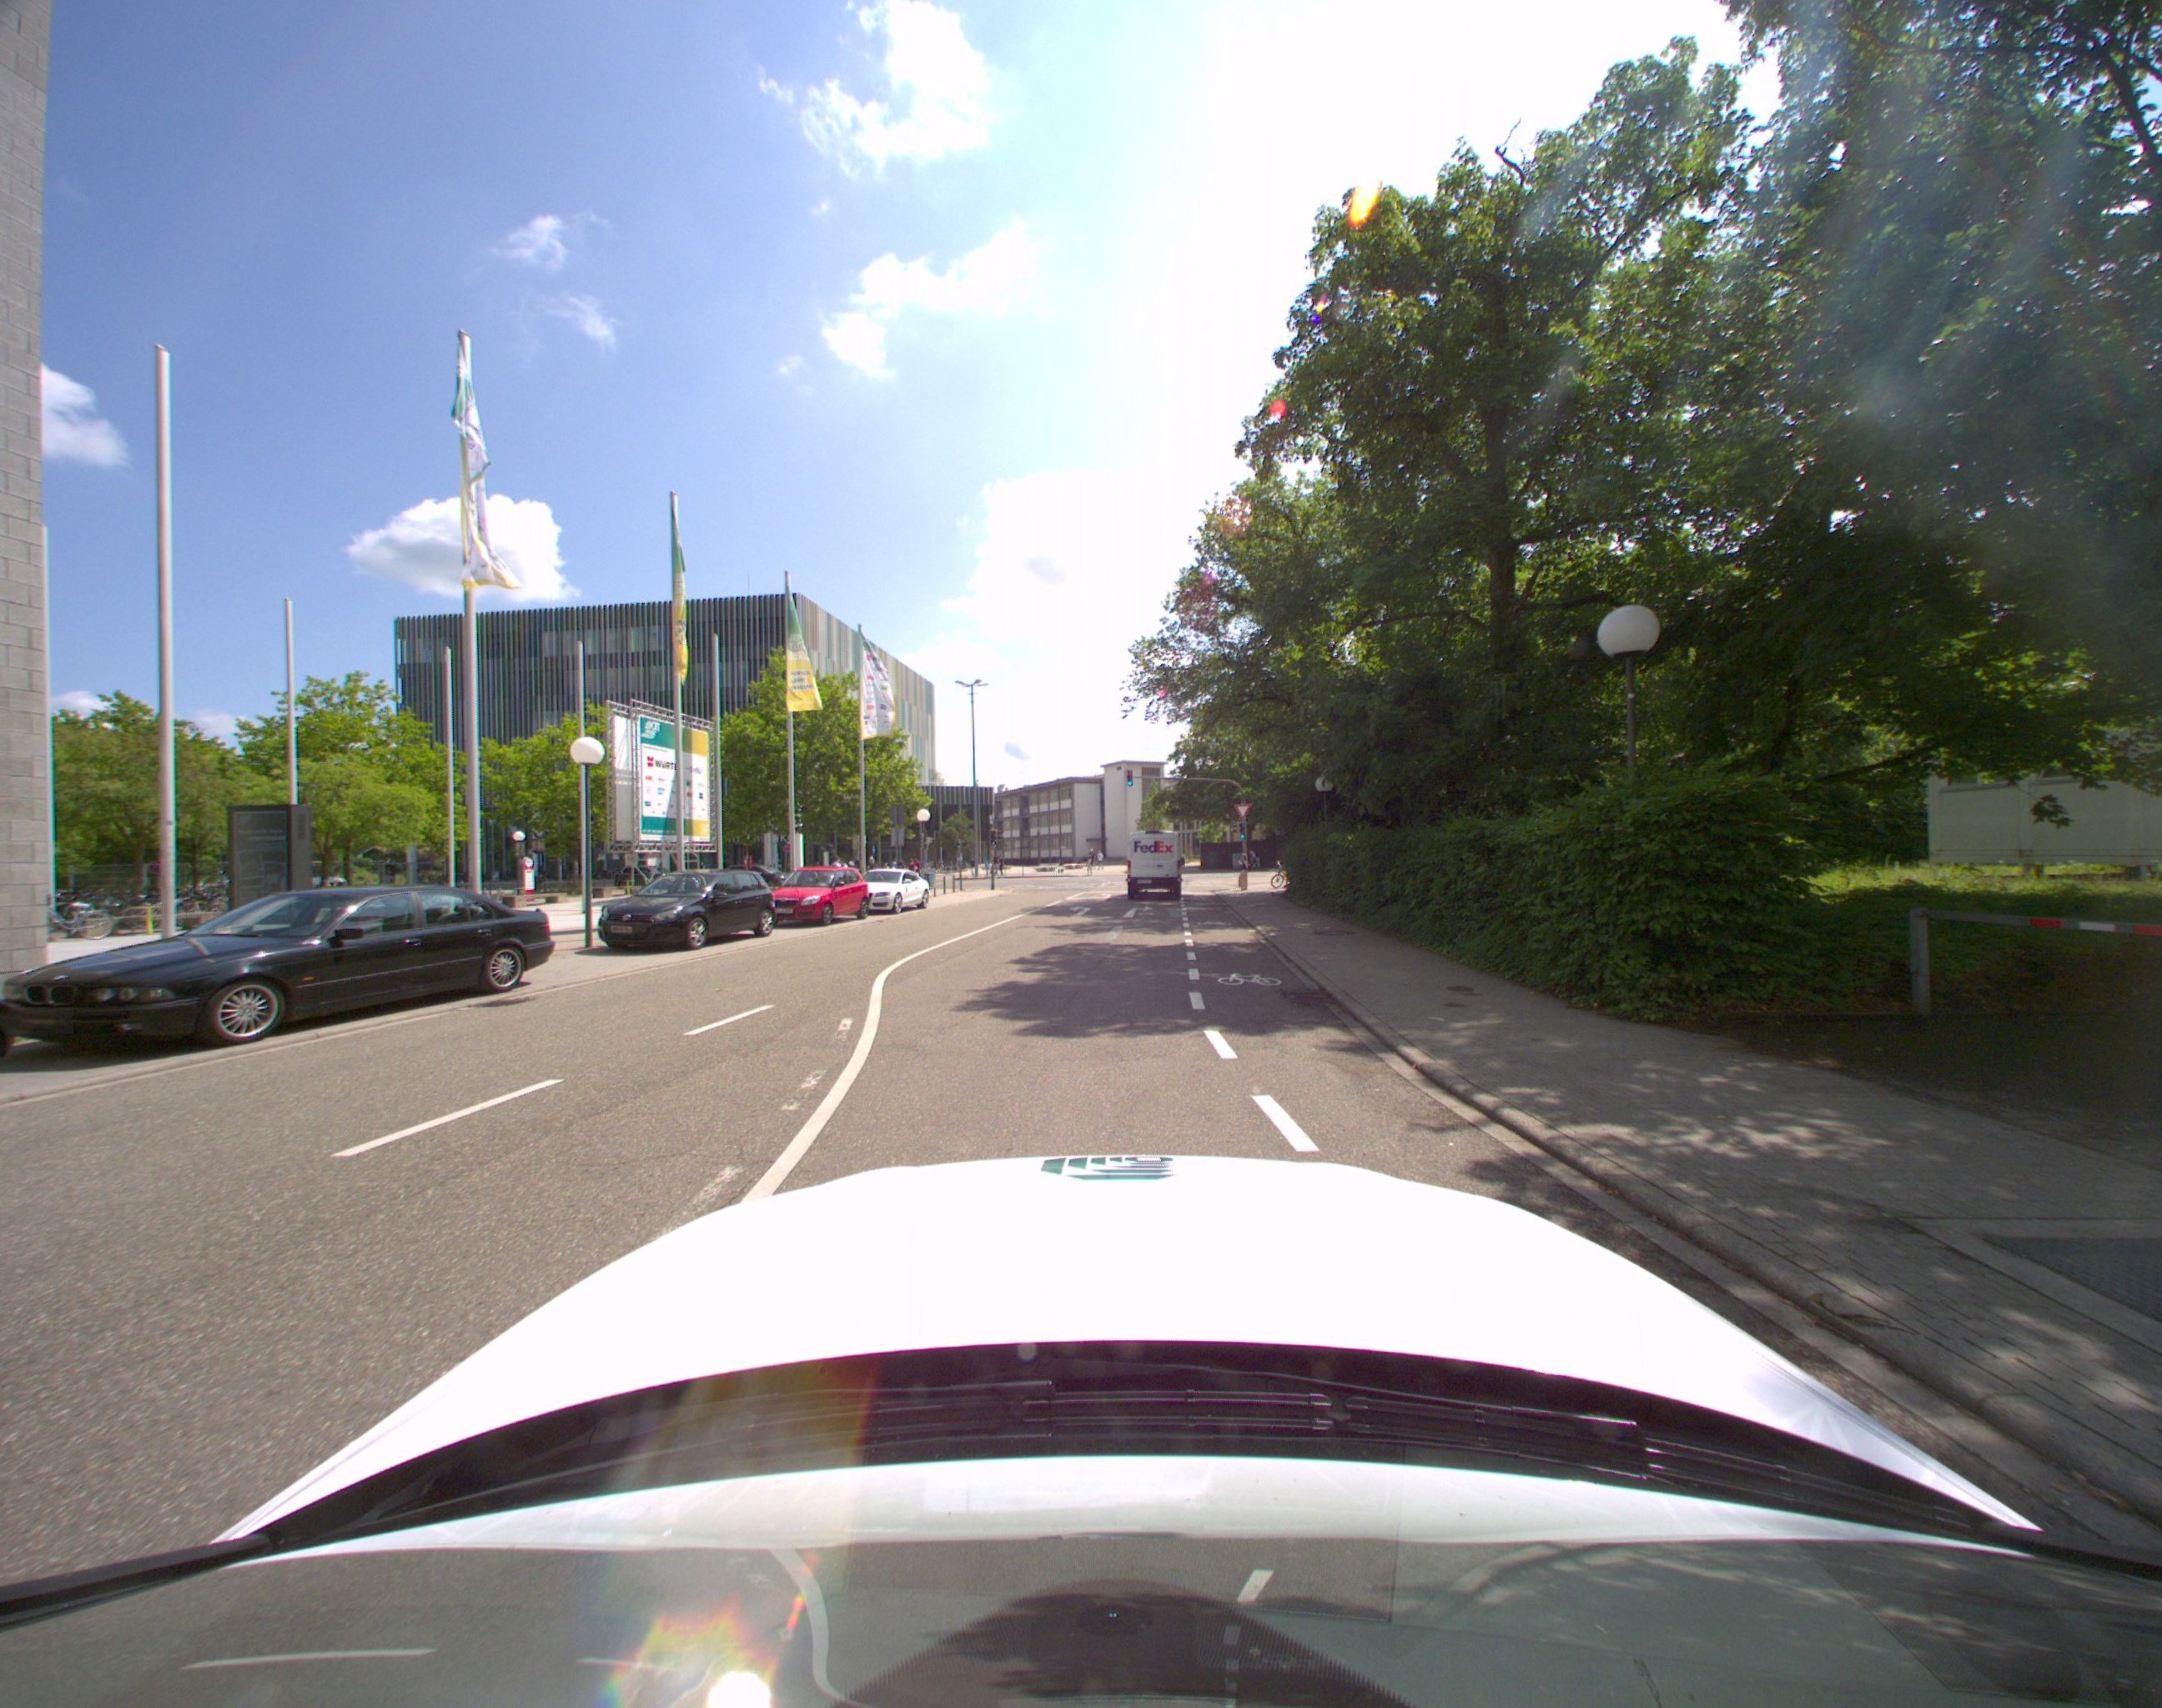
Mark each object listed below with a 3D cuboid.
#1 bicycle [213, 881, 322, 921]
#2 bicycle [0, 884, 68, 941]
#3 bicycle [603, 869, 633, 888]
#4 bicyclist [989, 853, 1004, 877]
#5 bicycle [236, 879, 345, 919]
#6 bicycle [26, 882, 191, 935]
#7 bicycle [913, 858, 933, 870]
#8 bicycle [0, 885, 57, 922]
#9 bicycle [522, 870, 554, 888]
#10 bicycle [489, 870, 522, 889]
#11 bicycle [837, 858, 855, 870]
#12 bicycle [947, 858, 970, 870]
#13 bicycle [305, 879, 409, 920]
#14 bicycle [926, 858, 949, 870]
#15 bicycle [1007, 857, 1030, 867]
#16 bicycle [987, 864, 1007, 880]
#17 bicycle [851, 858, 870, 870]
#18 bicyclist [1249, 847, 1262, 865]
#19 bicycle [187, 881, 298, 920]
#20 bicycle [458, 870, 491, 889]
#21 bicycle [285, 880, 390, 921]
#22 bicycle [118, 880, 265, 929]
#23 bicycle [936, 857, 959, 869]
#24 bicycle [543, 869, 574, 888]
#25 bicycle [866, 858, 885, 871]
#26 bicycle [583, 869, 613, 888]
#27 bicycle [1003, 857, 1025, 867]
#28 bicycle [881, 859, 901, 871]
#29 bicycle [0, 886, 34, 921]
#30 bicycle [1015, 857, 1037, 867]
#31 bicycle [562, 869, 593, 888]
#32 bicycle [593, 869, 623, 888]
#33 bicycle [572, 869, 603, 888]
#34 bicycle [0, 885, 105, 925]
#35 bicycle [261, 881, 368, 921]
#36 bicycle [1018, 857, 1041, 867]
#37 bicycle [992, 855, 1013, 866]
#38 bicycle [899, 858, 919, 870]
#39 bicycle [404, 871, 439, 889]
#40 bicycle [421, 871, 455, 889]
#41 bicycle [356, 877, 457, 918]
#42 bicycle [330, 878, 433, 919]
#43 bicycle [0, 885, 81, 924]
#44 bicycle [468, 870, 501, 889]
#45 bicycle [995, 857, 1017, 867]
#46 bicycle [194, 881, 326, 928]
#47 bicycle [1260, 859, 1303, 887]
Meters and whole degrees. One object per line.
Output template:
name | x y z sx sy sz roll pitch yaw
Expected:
bicycle | -32.087 1.814 32.206 1.055 1.411 2.960 -1 0 12
bicycle | -28.750 1.536 21.136 2.948 1.411 1.142 -1 -1 -16
bicycle | -46.793 2.423 82.314 0.953 1.838 2.959 -1 0 9
bicyclist | -6.456 0.824 62.491 0.783 1.817 1.003 -2 0 16
bicycle | -30.977 1.724 31.998 1.055 1.411 2.960 -1 0 12
bicycle | -28.546 1.578 23.984 2.948 1.411 1.142 -1 -1 -16
bicycle | -16.840 1.039 86.836 1.205 1.237 2.922 0 0 -31
bicycle | -43.359 2.016 32.479 1.055 1.411 2.960 -1 0 12
bicycle | -55.759 2.546 83.641 0.954 1.838 2.957 -1 0 8
bicycle | -59.457 2.596 84.193 0.980 1.838 2.957 -1 0 7
bicycle | -23.629 0.995 81.829 1.204 1.237 2.924 0 0 -28
bicycle | -13.351 1.097 88.787 1.207 1.237 2.917 0 -1 -39
bicycle | -27.800 1.706 31.381 1.008 1.411 2.960 -1 0 12
bicycle | -15.411 1.058 87.290 1.207 1.237 2.917 0 -1 -39
bicycle | -8.852 1.165 115.289 2.975 1.363 1.106 0 -1 -31
bicycle | -6.438 1.379 62.516 0.764 1.122 2.035 -2 0 16
bicycle | -22.400 1.010 82.767 1.204 1.237 2.923 0 0 -29
bicyclist | 15.046 0.156 70.208 0.841 1.468 1.075 -2 0 30
bicycle | -33.277 1.817 32.419 1.055 1.411 2.960 -1 0 12
bicycle | -63.000 2.644 84.608 0.954 1.838 2.957 -1 0 7
bicycle | -28.773 1.761 31.606 1.008 1.411 2.960 -1 0 12
bicycle | -28.088 1.555 25.792 2.948 1.411 1.142 -1 -1 -16
bicycle | -14.441 0.987 88.109 1.207 1.237 2.917 0 -1 -39
bicycle | -53.477 2.515 83.351 0.954 1.838 2.959 -1 0 9
bicycle | -21.096 1.083 83.431 1.204 1.237 2.924 0 0 -29
bicycle | -49.001 2.453 82.653 0.953 1.838 2.959 -1 0 10
bicycle | -9.572 1.183 116.859 2.975 1.363 1.106 0 -1 -31
bicycle | -19.816 1.131 84.889 1.204 1.237 2.923 0 0 -30
bicycle | -44.657 2.034 32.746 1.055 1.411 2.960 -1 0 12
bicycle | -7.654 1.138 113.251 2.975 1.363 1.106 0 -1 -31
bicycle | -51.277 2.484 83.033 0.953 1.838 2.959 -1 0 10
bicycle | -47.903 2.438 82.493 0.953 1.838 2.959 -1 0 10
bicycle | -50.156 2.469 82.832 0.953 1.838 2.959 -1 0 10
bicycle | -40.922 1.983 32.115 1.055 1.411 2.960 -1 0 12
bicycle | -29.839 1.791 31.809 1.055 1.411 2.960 -1 0 12
bicycle | -7.050 1.118 112.157 2.975 1.363 1.106 0 -1 -31
bicycle | -11.710 0.956 121.675 2.975 1.574 1.106 0 -1 -31
bicycle | -18.097 1.081 85.506 1.204 1.237 2.923 0 0 -30
bicycle | -68.990 2.708 85.205 0.954 1.838 2.957 -1 0 7
bicycle | -67.061 2.699 85.004 0.954 1.838 2.957 -1 0 7
bicycle | -25.588 1.615 30.992 1.008 1.419 2.960 -1 0 12
bicycle | -26.706 1.680 31.192 1.008 1.416 2.960 -1 0 12
bicycle | -42.106 1.999 32.276 1.055 1.411 2.960 -1 0 12
bicycle | -61.831 2.628 84.457 0.954 1.838 2.957 -1 0 7
bicycle | -11.046 1.208 120.059 2.975 1.363 1.106 0 -1 -31
bicycle | -27.467 1.669 27.325 2.948 1.411 1.060 -1 -1 -16
bicycle | 9.040 0.863 36.805 1.731 1.127 0.593 -4 -2 -1
